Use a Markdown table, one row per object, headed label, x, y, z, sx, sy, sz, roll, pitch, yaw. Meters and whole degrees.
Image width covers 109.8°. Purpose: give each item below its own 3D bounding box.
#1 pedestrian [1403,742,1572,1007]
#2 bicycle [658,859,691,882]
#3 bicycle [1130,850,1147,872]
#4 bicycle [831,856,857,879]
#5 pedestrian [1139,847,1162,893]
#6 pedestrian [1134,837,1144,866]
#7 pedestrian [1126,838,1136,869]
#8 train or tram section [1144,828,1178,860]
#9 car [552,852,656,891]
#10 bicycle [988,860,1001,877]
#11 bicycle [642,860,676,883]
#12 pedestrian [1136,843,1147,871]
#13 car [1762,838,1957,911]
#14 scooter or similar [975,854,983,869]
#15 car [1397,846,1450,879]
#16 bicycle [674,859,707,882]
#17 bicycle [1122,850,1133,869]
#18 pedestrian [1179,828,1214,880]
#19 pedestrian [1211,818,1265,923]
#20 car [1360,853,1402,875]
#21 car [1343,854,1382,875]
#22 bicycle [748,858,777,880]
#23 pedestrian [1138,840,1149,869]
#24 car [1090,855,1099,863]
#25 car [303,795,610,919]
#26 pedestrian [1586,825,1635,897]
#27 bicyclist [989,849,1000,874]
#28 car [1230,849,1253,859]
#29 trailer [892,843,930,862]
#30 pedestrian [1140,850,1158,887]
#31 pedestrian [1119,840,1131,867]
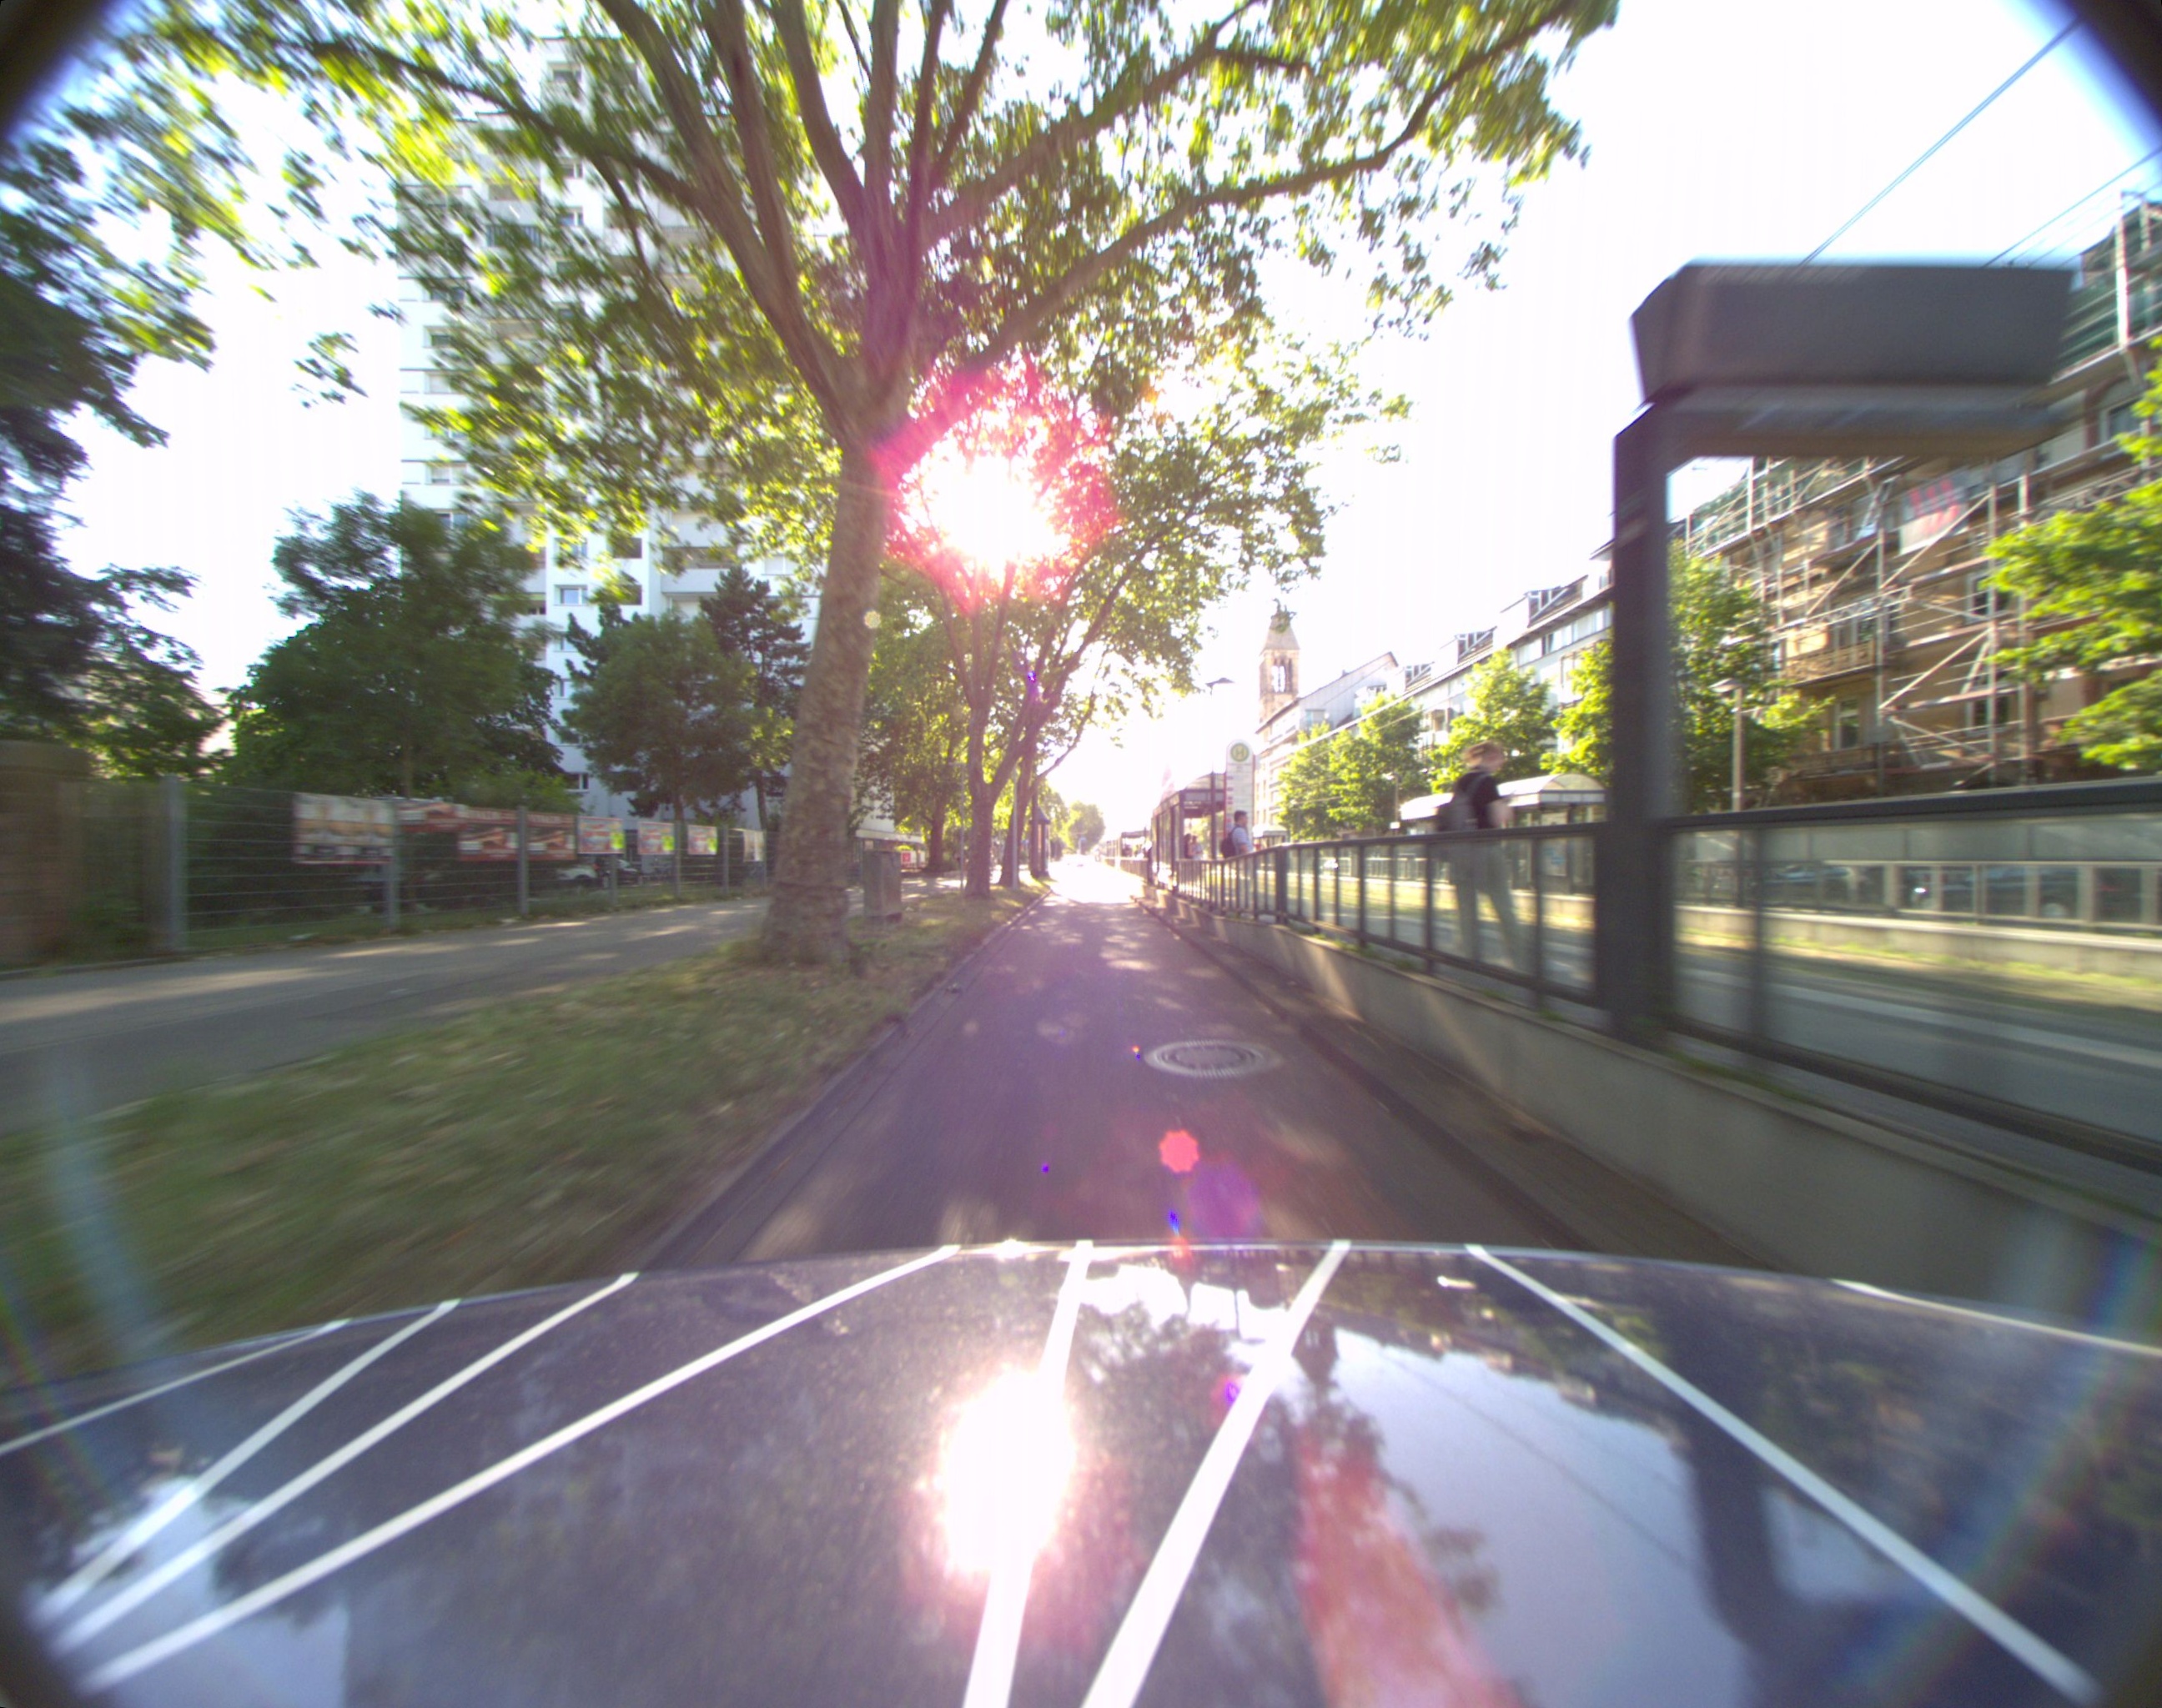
| label | x | y | z | sx | sy | sz | roll | pitch | yaw |
| --- | --- | --- | --- | --- | --- | --- | --- | --- | --- |
| pedestrian | 2.764 | 0.133 | 5.234 | 0.759 | 1.680 | 0.678 | -2 | 1 | 0 |
| bicycle | -22.299 | 0.903 | 41.702 | 0.791 | 1.171 | 1.820 | -2 | 1 | 0 |
| bicycle | 3.070 | 0.379 | 40.685 | 0.739 | 1.127 | 2.030 | -2 | 1 | 0 |
| bicycle | -12.973 | 0.719 | 41.639 | 0.791 | 1.171 | 1.820 | -2 | 1 | 0 |
| pedestrian | 2.710 | 0.607 | 29.612 | 0.767 | 1.748 | 0.695 | -2 | 1 | 0 |
| pedestrian | 3.652 | -0.139 | 47.767 | 0.600 | 1.790 | 0.824 | -2 | 1 | 6 |
| pedestrian | 3.187 | -0.042 | 48.358 | 0.600 | 1.984 | 0.824 | -2 | 1 | 6 |
| train or tram section | 9.905 | -1.241 | 96.022 | 2.877 | 3.664 | 14.559 | 0 | 0 | 1 |
| car | -20.042 | 0.680 | 32.146 | 1.999 | 1.444 | 3.998 | -2 | 1 | -3 |
| bicycle | -5.297 | 0.884 | 46.818 | 0.604 | 1.020 | 1.766 | 0 | 1 | -1 |
| bicycle | -23.158 | 0.933 | 41.737 | 0.791 | 1.171 | 1.820 | -2 | 1 | 0 |
| pedestrian | 3.667 | 0.164 | 46.271 | 0.550 | 1.698 | 0.599 | -2 | 1 | -3 |
| car | 23.854 | 0.567 | 23.538 | 1.998 | 2.002 | 4.000 | -2 | 1 | 2 |
| scooter or similar | -8.987 | 0.659 | 66.840 | 0.562 | 1.250 | 1.289 | 1 | 1 | -3 |
| car | 23.834 | 0.537 | 52.973 | 1.945 | 2.154 | 3.784 | -2 | 1 | 0 |
| bicycle | -21.415 | 0.872 | 41.677 | 0.791 | 1.171 | 1.820 | -2 | 1 | 0 |
| bicycle | 2.869 | 0.340 | 46.660 | 0.514 | 1.127 | 2.103 | -2 | 1 | 0 |
| pedestrian | 3.885 | -0.005 | 25.491 | 0.912 | 1.712 | 0.630 | -3 | 1 | -33 |
| pedestrian | 2.600 | 0.263 | 12.672 | 0.681 | 1.680 | 0.894 | -2 | 1 | 0 |
| car | 23.911 | 0.796 | 60.629 | 1.811 | 1.626 | 3.784 | -2 | 1 | 0 |
| car | 23.880 | 0.845 | 64.547 | 1.811 | 1.667 | 3.784 | -2 | 1 | 0 |
| bicycle | -17.444 | 0.805 | 41.625 | 0.791 | 1.171 | 1.820 | -2 | 1 | 0 |
| pedestrian | 3.735 | 0.029 | 45.497 | 0.507 | 1.698 | 0.729 | -2 | 1 | -3 |
| car | 2.530 | 0.946 | 141.586 | 1.636 | 1.491 | 3.999 | 0 | 1 | 0 |
| car | -14.737 | 0.038 | 18.694 | 1.998 | 2.485 | 6.347 | -2 | 1 | 2 |
| pedestrian | 12.767 | 0.173 | 18.321 | 0.681 | 1.680 | 0.654 | -2 | 1 | -2 |
| bicyclist | -5.302 | 0.440 | 46.762 | 0.604 | 1.542 | 0.860 | 0 | 1 | -1 |
| car | 31.500 | 0.058 | 148.944 | 4.024 | 1.795 | 1.870 | -2 | 1 | 1 |
| trailer | -22.024 | -0.233 | 98.385 | 4.520 | 2.359 | 1.910 | 0 | 0 | -21 |
| pedestrian | 2.983 | 0.633 | 33.344 | 0.680 | 1.553 | 0.851 | -2 | 1 | 0 |
| pedestrian | 3.083 | -0.031 | 53.450 | 0.671 | 1.891 | 0.824 | -2 | 1 | -1 |
